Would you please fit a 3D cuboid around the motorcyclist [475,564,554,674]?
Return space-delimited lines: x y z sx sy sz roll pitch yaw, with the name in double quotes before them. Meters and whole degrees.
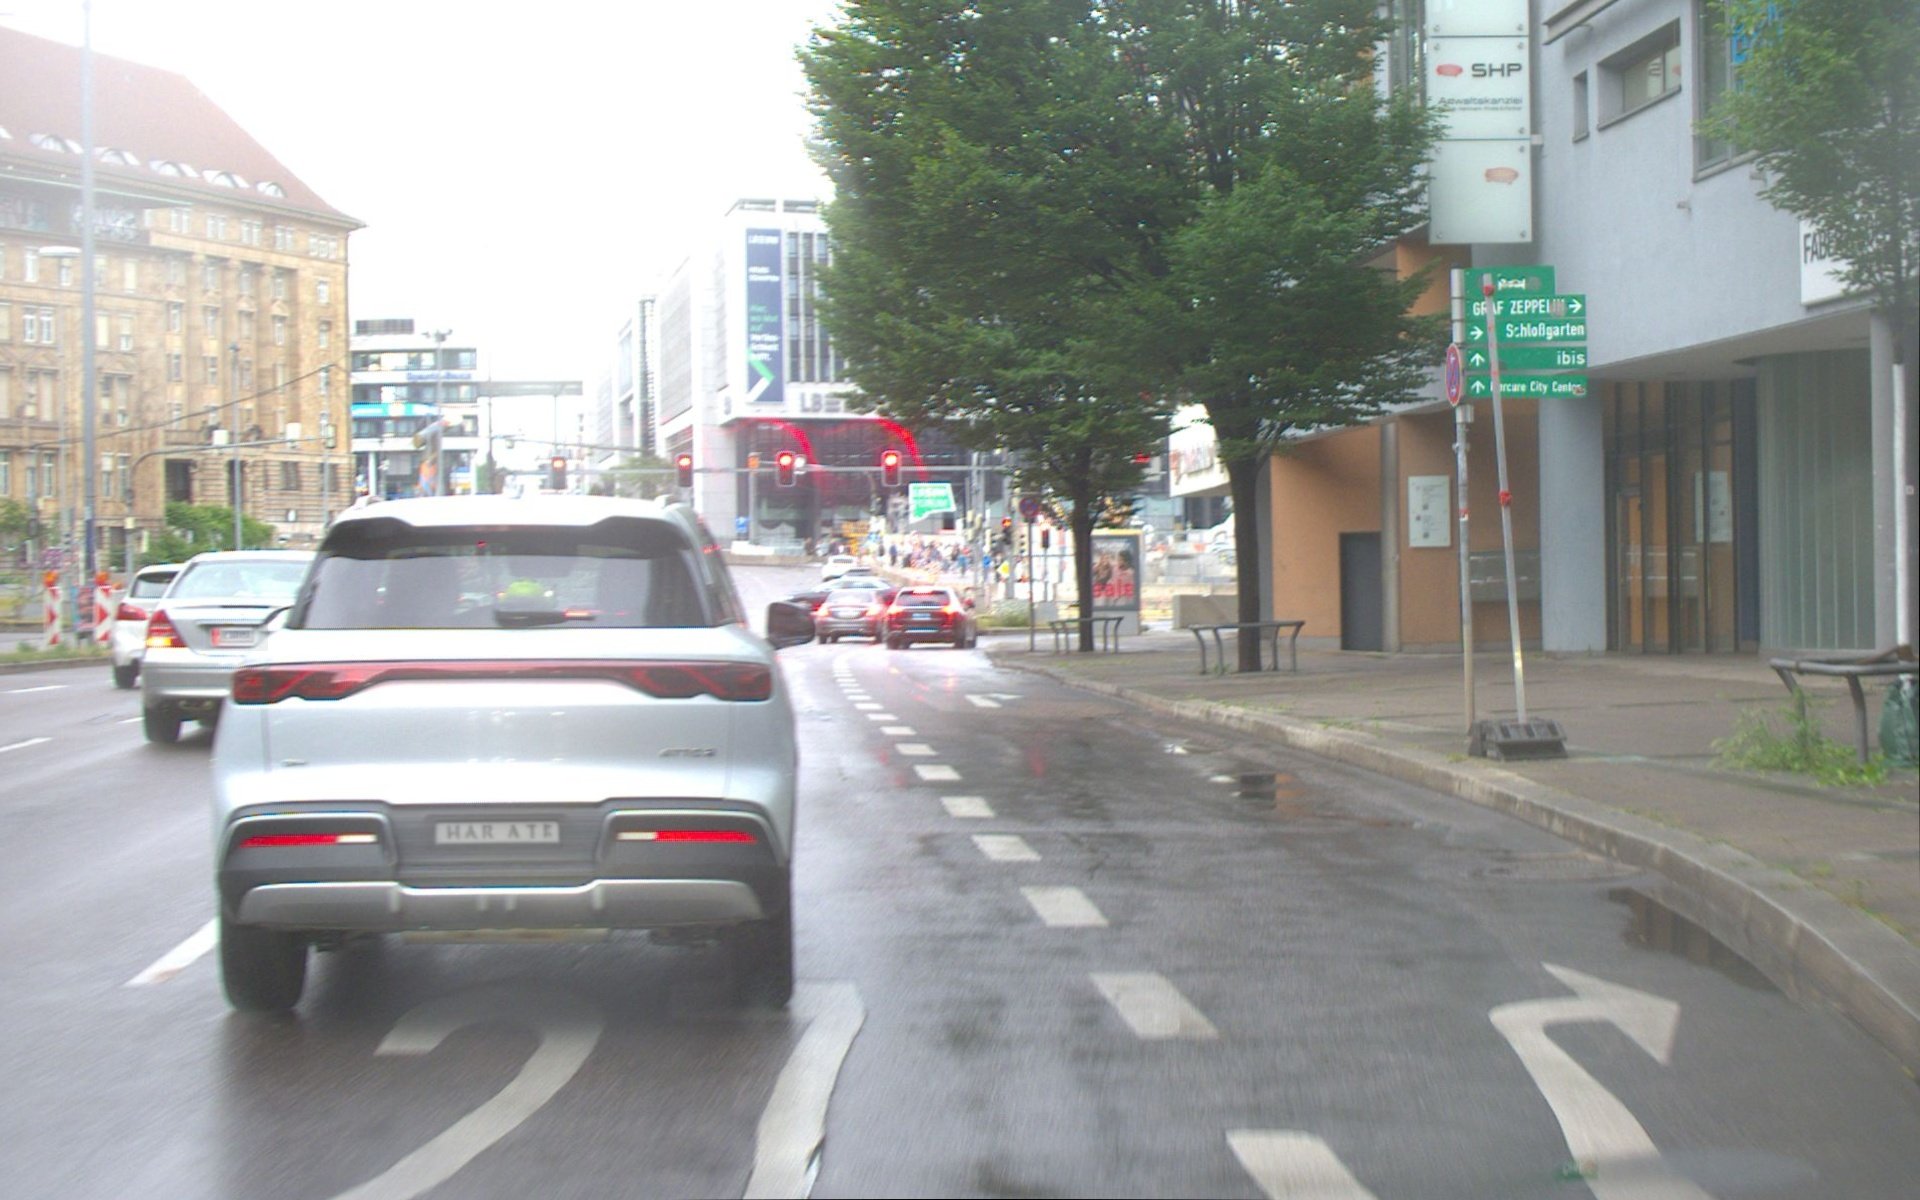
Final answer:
"motorcyclist" -6.033 0.261 46.602 0.941 1.470 1.100 0 -1 -1

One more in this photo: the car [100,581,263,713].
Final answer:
"car" -9.972 0.589 44.253 1.732 1.610 4.001 0 0 -9

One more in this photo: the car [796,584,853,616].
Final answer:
"car" -7.686 0.006 194.835 1.993 1.810 4.001 1 0 -22

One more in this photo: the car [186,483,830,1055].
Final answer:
"car" -1.392 0.509 12.096 1.808 1.655 4.171 0 0 -2

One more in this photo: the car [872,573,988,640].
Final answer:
"car" -0.687 0.168 81.629 1.892 1.539 3.991 0 0 13

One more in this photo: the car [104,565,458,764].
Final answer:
"car" -5.141 0.475 26.609 1.733 1.399 4.382 0 0 2

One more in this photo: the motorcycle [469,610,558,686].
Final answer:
"motorcycle" -6.030 0.637 46.537 0.942 0.986 2.294 0 0 -1

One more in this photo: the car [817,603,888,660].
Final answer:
"car" -2.949 0.853 95.028 1.783 1.397 4.486 0 1 0

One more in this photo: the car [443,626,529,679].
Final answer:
"car" -12.582 1.392 91.468 1.783 1.369 3.993 0 0 -1

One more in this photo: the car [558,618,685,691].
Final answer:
"car" -7.324 1.166 74.825 1.887 1.509 5.001 0 0 4
